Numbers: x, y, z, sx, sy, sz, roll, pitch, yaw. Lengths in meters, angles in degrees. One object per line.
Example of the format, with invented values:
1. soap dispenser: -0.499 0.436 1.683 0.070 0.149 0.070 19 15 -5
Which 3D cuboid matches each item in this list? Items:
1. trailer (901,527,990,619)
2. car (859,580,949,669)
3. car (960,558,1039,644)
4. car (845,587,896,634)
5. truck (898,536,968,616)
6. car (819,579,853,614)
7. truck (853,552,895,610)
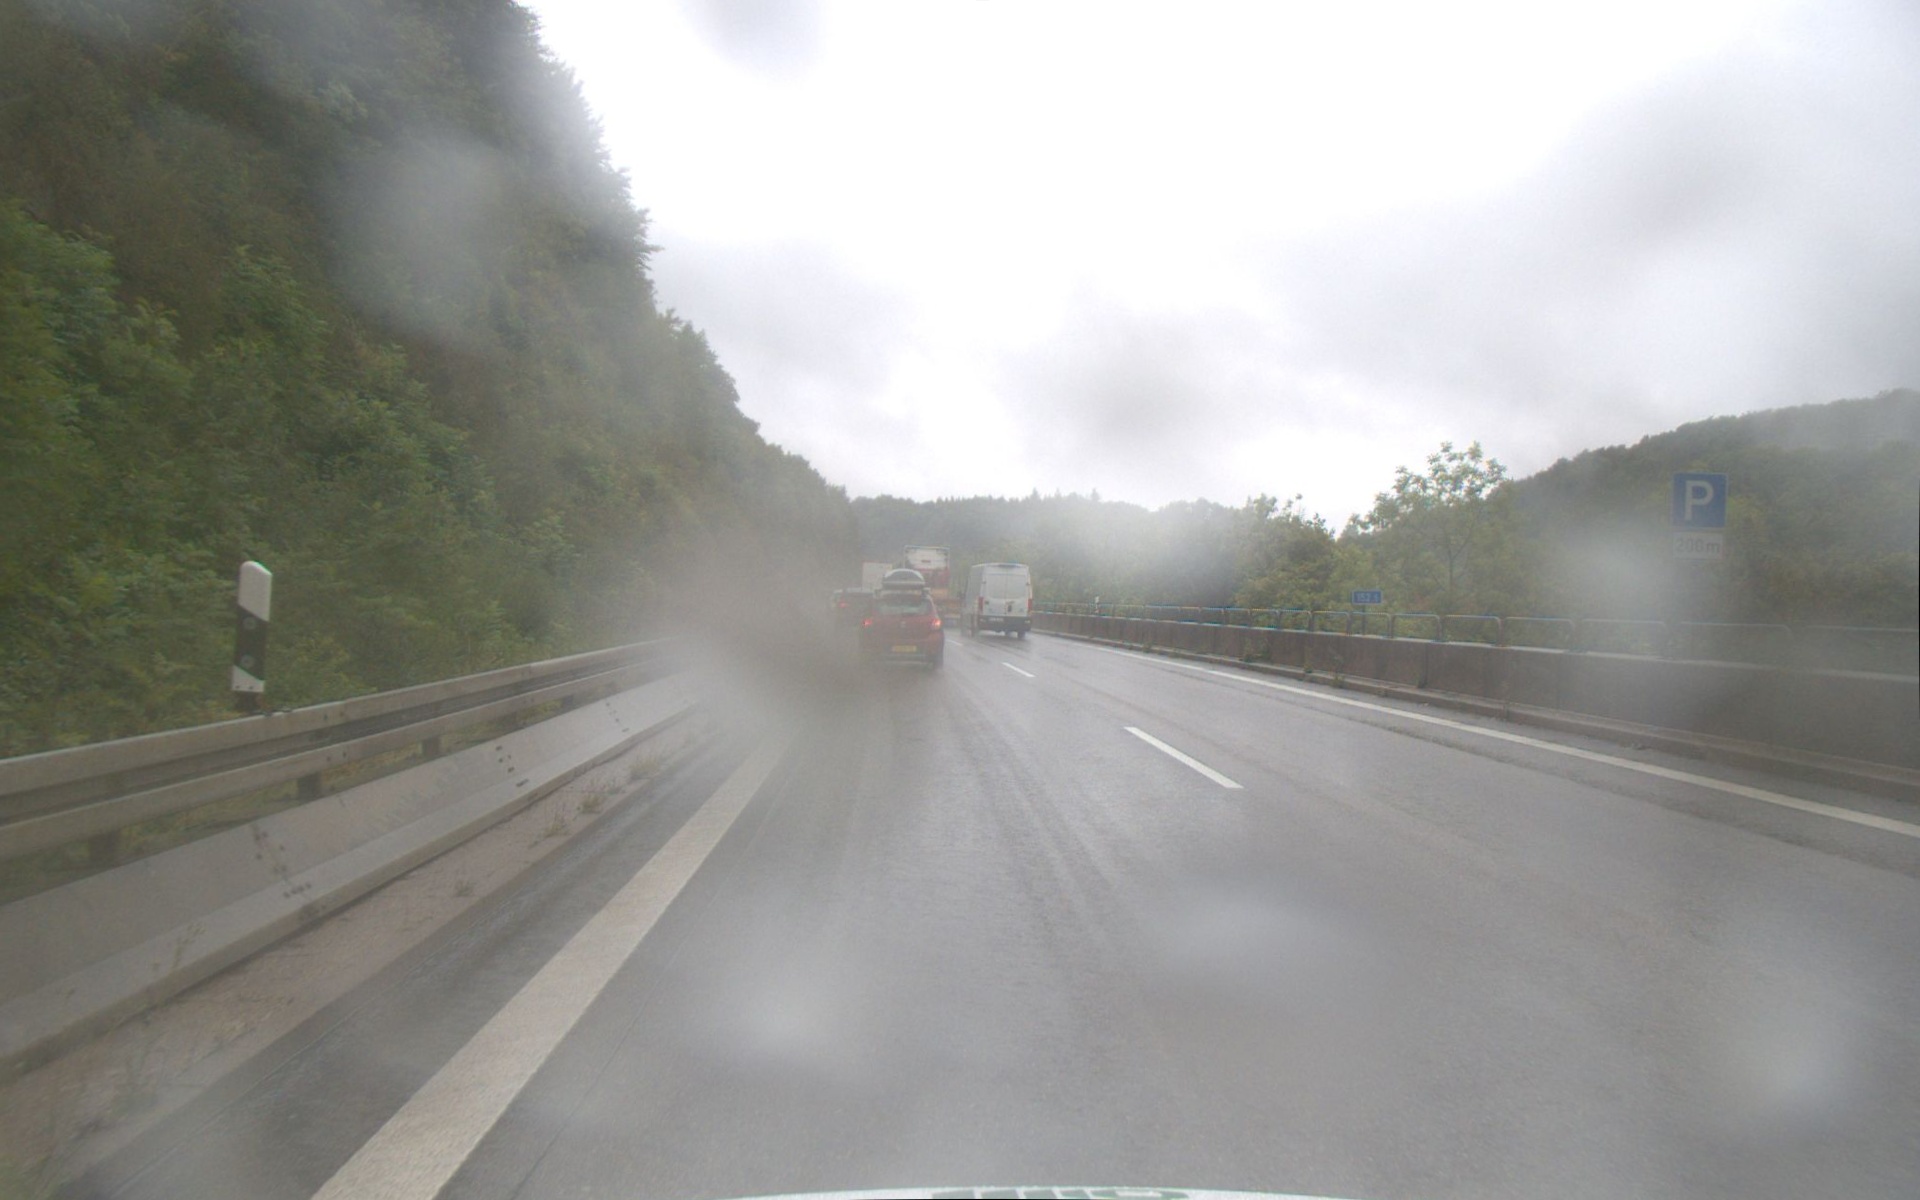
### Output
1. trailer: -0.891 -1.241 82.243 3.156 4.068 13.508 3 0 -5
2. car: -1.207 0.484 34.237 1.723 1.714 3.997 0 0 -4
3. car: 1.364 0.041 61.035 2.162 2.842 7.377 4 0 -3
4. car: -3.419 0.401 62.484 1.787 1.726 3.996 0 0 -5
5. truck: -1.518 -1.260 89.087 3.158 4.047 5.432 3 0 -6
6. car: -6.667 -0.165 88.682 1.683 1.849 3.887 0 0 -6
7. truck: -7.309 -1.545 139.956 3.160 4.764 8.290 0 0 -5
